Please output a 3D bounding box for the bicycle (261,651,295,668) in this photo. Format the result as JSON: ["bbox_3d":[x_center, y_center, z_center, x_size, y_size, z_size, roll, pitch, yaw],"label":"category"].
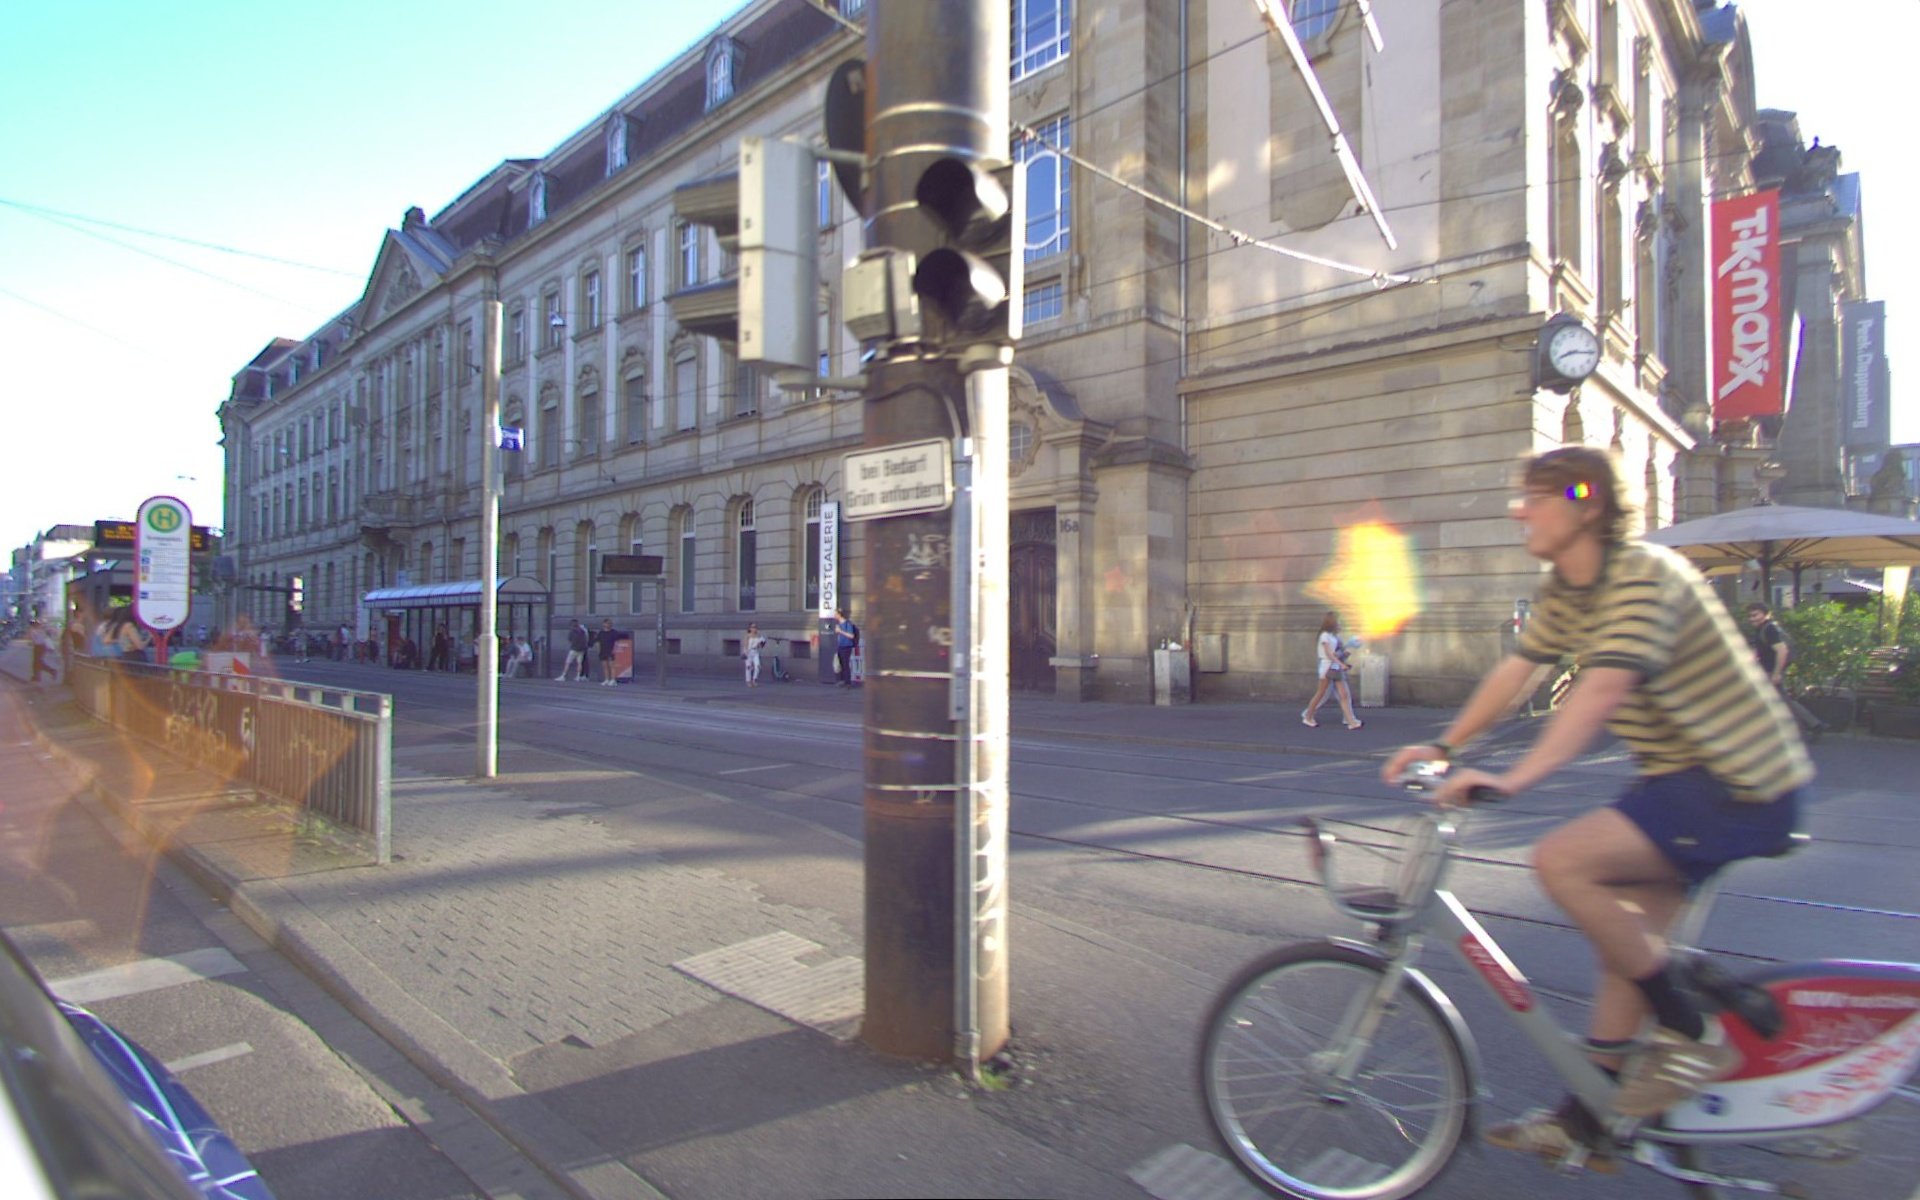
[{"bbox_3d":[-39.683,3.460,58.888,1.556,0.880,0.451,0,-1,-42],"label":"bicycle"}]

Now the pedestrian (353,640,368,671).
[{"bbox_3d":[-28.822,2.675,48.688,0.433,1.451,0.573,-1,-1,-10],"label":"pedestrian"}]

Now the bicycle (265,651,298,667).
[{"bbox_3d":[-39.997,3.478,59.665,1.556,0.880,0.451,0,-1,-42],"label":"bicycle"}]

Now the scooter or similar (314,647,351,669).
[{"bbox_3d":[-31.778,2.930,51.230,1.528,1.076,0.451,0,-1,-42],"label":"scooter or similar"}]

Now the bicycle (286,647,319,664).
[{"bbox_3d":[-37.778,3.196,58.159,1.556,0.880,0.451,0,-1,-42],"label":"bicycle"}]

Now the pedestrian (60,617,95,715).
[{"bbox_3d":[-16.395,1.215,18.801,0.594,1.780,0.407,-2,-1,42],"label":"pedestrian"}]

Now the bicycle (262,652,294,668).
[{"bbox_3d":[-41.123,3.600,60.992,1.556,0.880,0.451,0,-1,-42],"label":"bicycle"}]

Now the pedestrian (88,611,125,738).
[{"bbox_3d":[-12.438,1.067,14.748,0.544,1.809,0.338,-2,-1,42],"label":"pedestrian"}]

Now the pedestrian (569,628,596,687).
[{"bbox_3d":[-10.855,1.640,29.100,0.511,1.658,0.638,1,-2,-43],"label":"pedestrian"}]

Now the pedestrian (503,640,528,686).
[{"bbox_3d":[-13.262,1.862,30.193,0.511,1.337,0.638,1,-2,-43],"label":"pedestrian"}]

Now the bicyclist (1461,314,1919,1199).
[{"bbox_3d":[1.580,0.295,2.211,0.786,1.605,0.606,-1,-2,22],"label":"bicyclist"}]

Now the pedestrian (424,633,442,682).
[{"bbox_3d":[-18.008,1.954,34.586,0.510,1.663,0.640,1,-2,-24],"label":"pedestrian"}]

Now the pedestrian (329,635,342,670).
[{"bbox_3d":[-29.113,2.442,47.198,0.433,1.617,0.574,-1,-1,-22],"label":"pedestrian"}]

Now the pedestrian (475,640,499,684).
[{"bbox_3d":[-14.591,1.903,31.213,0.511,1.337,0.638,1,-2,-43],"label":"pedestrian"}]

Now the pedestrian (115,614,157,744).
[{"bbox_3d":[-10.743,1.012,13.196,0.502,1.654,0.353,-2,-1,42],"label":"pedestrian"}]

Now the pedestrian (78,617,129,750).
[{"bbox_3d":[-11.874,1.138,14.025,0.533,1.780,0.595,0,-1,-41],"label":"pedestrian"}]

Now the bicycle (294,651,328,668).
[{"bbox_3d":[-36.577,3.325,57.059,1.556,0.880,0.451,0,-1,-42],"label":"bicycle"}]

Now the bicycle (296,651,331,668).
[{"bbox_3d":[-35.462,3.271,55.514,1.556,0.880,0.451,0,-1,-42],"label":"bicycle"}]

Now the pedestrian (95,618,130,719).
[{"bbox_3d":[-14.190,1.133,16.944,0.549,1.654,0.381,-2,-1,42],"label":"pedestrian"}]

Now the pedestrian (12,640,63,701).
[{"bbox_3d":[-25.814,1.951,28.345,0.956,1.641,0.692,0,-2,-35],"label":"pedestrian"}]

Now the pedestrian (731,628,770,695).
[{"bbox_3d":[-5.220,1.518,25.186,0.630,1.626,0.692,-2,-2,42],"label":"pedestrian"}]

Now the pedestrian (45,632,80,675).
[{"bbox_3d":[-32.418,1.937,36.554,0.901,1.512,0.837,-3,-3,43],"label":"pedestrian"}]

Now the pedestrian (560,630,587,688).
[{"bbox_3d":[-10.807,1.644,28.290,0.511,1.581,0.638,1,-2,-43],"label":"pedestrian"}]

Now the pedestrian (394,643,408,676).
[{"bbox_3d":[-20.401,2.165,36.944,0.360,1.209,0.430,0,-1,-41],"label":"pedestrian"}]

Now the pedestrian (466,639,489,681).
[{"bbox_3d":[-15.920,1.970,33.387,0.511,1.337,0.638,1,-2,-43],"label":"pedestrian"}]

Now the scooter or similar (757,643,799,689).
[{"bbox_3d":[-4.933,1.777,27.423,0.481,1.191,1.294,0,-1,-44],"label":"scooter or similar"}]

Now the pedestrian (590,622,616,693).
[{"bbox_3d":[-9.109,1.455,25.825,0.461,1.790,0.562,1,-2,-37],"label":"pedestrian"}]

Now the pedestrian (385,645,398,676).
[{"bbox_3d":[-21.355,2.268,38.016,0.360,1.111,0.430,0,-1,-41],"label":"pedestrian"}]

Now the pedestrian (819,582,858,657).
[{"bbox_3d":[-2.939,0.482,24.555,0.705,1.790,0.614,-3,-3,40],"label":"pedestrian"}]

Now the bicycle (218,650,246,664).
[{"bbox_3d":[-49.495,3.875,68.807,1.556,0.880,0.451,0,-1,-42],"label":"bicycle"}]

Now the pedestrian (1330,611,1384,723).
[{"bbox_3d":[5.637,0.938,14.380,0.512,1.537,0.502,1,-3,-43],"label":"pedestrian"}]

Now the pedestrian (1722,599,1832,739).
[{"bbox_3d":[10.095,0.831,12.509,0.972,1.641,0.681,-3,-3,42],"label":"pedestrian"}]

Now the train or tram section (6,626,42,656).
[{"bbox_3d":[-137.444,5.938,148.544,13.485,3.714,2.862,1,-3,44],"label":"train or tram section"}]

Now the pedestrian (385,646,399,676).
[{"bbox_3d":[-21.039,2.255,37.498,0.360,1.111,0.430,0,-1,-41],"label":"pedestrian"}]

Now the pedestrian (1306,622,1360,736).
[{"bbox_3d":[5.152,1.073,13.971,0.502,1.537,0.520,-3,-3,42],"label":"pedestrian"}]

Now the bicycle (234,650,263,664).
[{"bbox_3d":[-47.729,3.828,67.902,1.556,0.880,0.451,0,-1,-42],"label":"bicycle"}]

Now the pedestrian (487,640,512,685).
[{"bbox_3d":[-13.975,1.884,30.740,0.511,1.337,0.638,1,-2,-43],"label":"pedestrian"}]

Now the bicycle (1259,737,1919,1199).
[{"bbox_3d":[1.514,0.924,2.222,1.613,1.112,0.625,0,-2,21],"label":"bicycle"}]

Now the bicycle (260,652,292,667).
[{"bbox_3d":[-41.500,3.614,61.444,1.556,0.880,0.451,0,-1,-42],"label":"bicycle"}]
